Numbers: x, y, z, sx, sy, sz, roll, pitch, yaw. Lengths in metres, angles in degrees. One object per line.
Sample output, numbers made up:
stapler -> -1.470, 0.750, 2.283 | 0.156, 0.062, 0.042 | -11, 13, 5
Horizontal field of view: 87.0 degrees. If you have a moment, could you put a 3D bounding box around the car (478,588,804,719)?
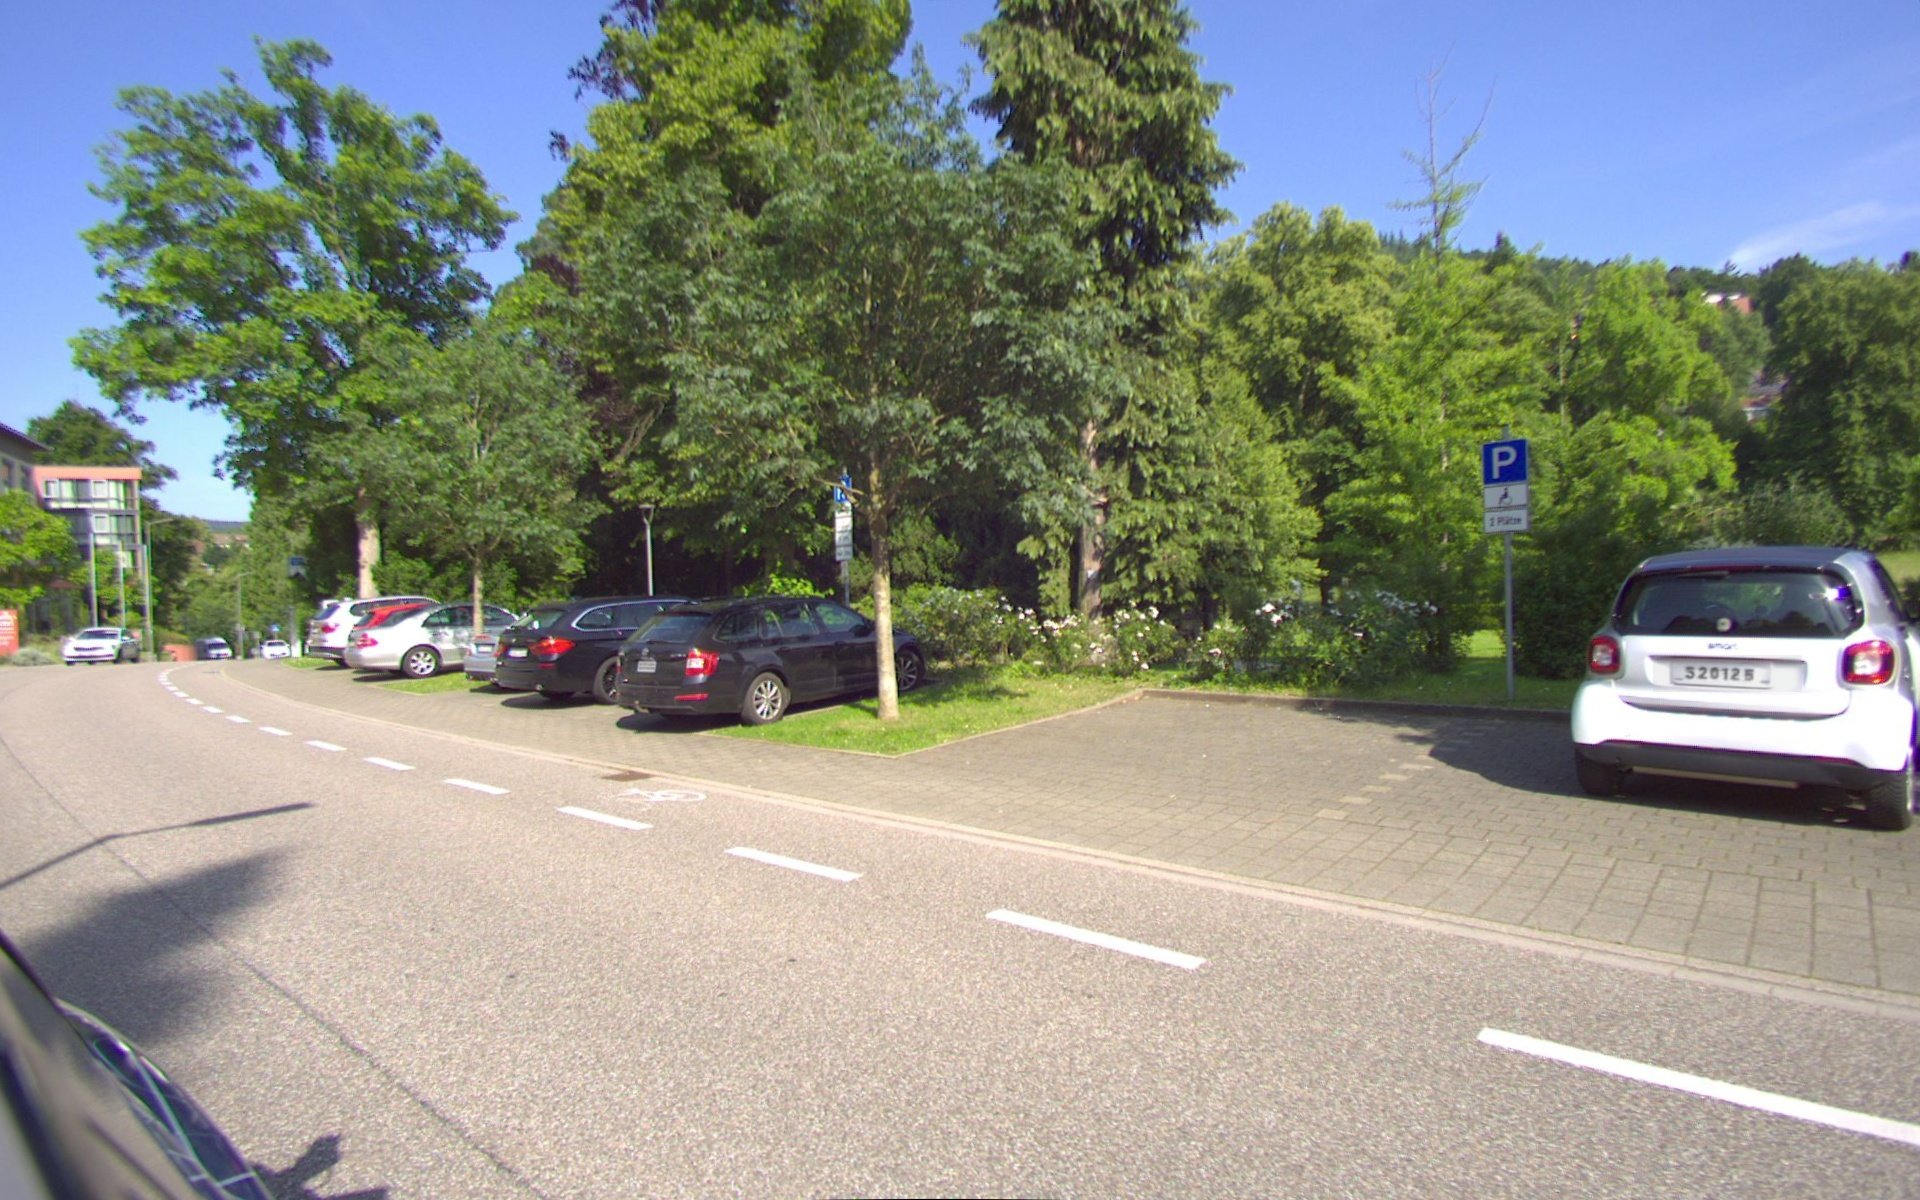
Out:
car -> -4.666, 0.694, 15.395 | 1.712, 1.521, 4.448 | -2, 2, 40

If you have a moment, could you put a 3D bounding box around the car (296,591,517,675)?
car -> -13.735, 0.744, 25.317 | 1.810, 1.675, 4.434 | -1, 3, 44

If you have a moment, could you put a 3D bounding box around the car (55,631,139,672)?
car -> -33.946, 2.018, 39.894 | 1.712, 1.508, 3.941 | -1, -2, -28

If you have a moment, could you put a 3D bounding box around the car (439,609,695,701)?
car -> -6.753, 0.882, 17.680 | 1.762, 1.252, 3.755 | -1, 2, 41

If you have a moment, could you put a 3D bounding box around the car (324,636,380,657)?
car -> -48.838, 3.734, 81.396 | 1.500, 1.408, 3.986 | -5, -1, 11

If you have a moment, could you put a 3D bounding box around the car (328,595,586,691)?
car -> -10.387, 0.801, 21.084 | 4.428, 1.428, 1.813 | -7, 4, -39

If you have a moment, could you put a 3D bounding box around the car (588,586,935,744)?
car -> -2.269, 0.670, 12.700 | 1.709, 1.442, 4.240 | -2, 2, 35

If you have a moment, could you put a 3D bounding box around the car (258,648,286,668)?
car -> -55.479, 4.670, 81.565 | 1.713, 1.408, 4.009 | -1, 0, -37

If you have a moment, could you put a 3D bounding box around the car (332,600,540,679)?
car -> -12.104, 0.844, 23.521 | 3.940, 1.443, 1.722 | -5, 3, -42

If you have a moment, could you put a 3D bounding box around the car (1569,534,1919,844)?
car -> 5.364, 0.406, 6.617 | 2.620, 1.558, 1.684 | -5, 2, -43
